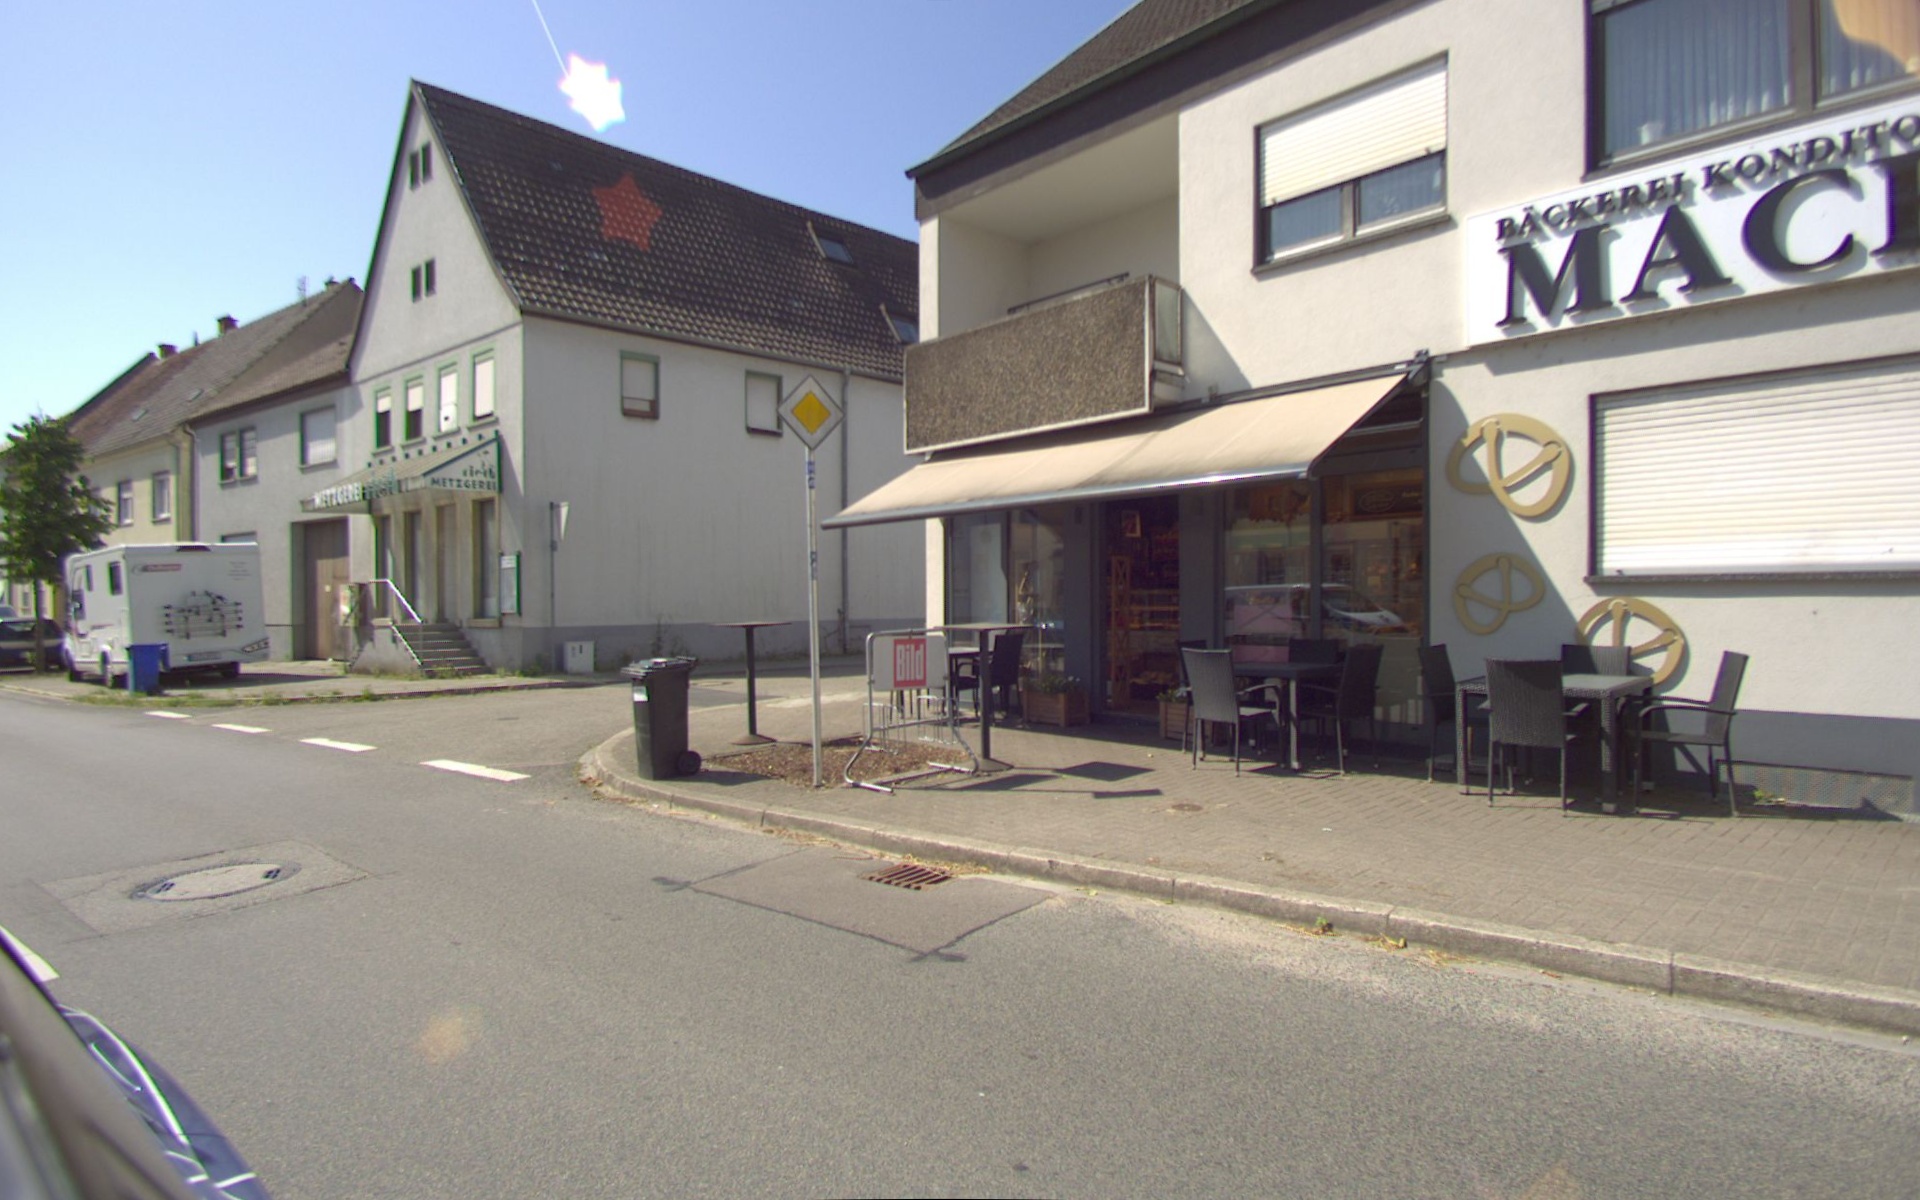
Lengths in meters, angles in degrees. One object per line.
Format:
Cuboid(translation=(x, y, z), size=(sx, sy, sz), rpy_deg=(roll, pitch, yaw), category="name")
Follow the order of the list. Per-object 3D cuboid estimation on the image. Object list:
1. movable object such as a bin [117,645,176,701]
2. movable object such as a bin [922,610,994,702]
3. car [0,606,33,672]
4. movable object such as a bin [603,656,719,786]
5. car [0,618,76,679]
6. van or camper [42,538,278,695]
Cuboid(translation=(-13.757, 1.220, 17.121), size=(0.612, 0.878, 0.637), rpy_deg=(-1, 0, 37), category="movable object such as a bin")
Cuboid(translation=(-0.030, 0.719, 13.277), size=(0.664, 1.146, 0.645), rpy_deg=(-1, -1, -41), category="movable object such as a bin")
Cuboid(translation=(-29.724, 1.171, 30.489), size=(4.951, 1.862, 1.974), rpy_deg=(-1, 0, 39), category="car")
Cuboid(translation=(-2.364, 0.926, 8.007), size=(0.612, 0.931, 0.637), rpy_deg=(-1, -1, 37), category="movable object such as a bin")
Cuboid(translation=(-25.210, 1.255, 27.074), size=(3.613, 1.493, 1.669), rpy_deg=(-1, 0, 38), category="car")
Cuboid(translation=(-17.482, 0.351, 21.934), size=(7.057, 2.927, 2.422), rpy_deg=(-1, 0, 38), category="van or camper")
